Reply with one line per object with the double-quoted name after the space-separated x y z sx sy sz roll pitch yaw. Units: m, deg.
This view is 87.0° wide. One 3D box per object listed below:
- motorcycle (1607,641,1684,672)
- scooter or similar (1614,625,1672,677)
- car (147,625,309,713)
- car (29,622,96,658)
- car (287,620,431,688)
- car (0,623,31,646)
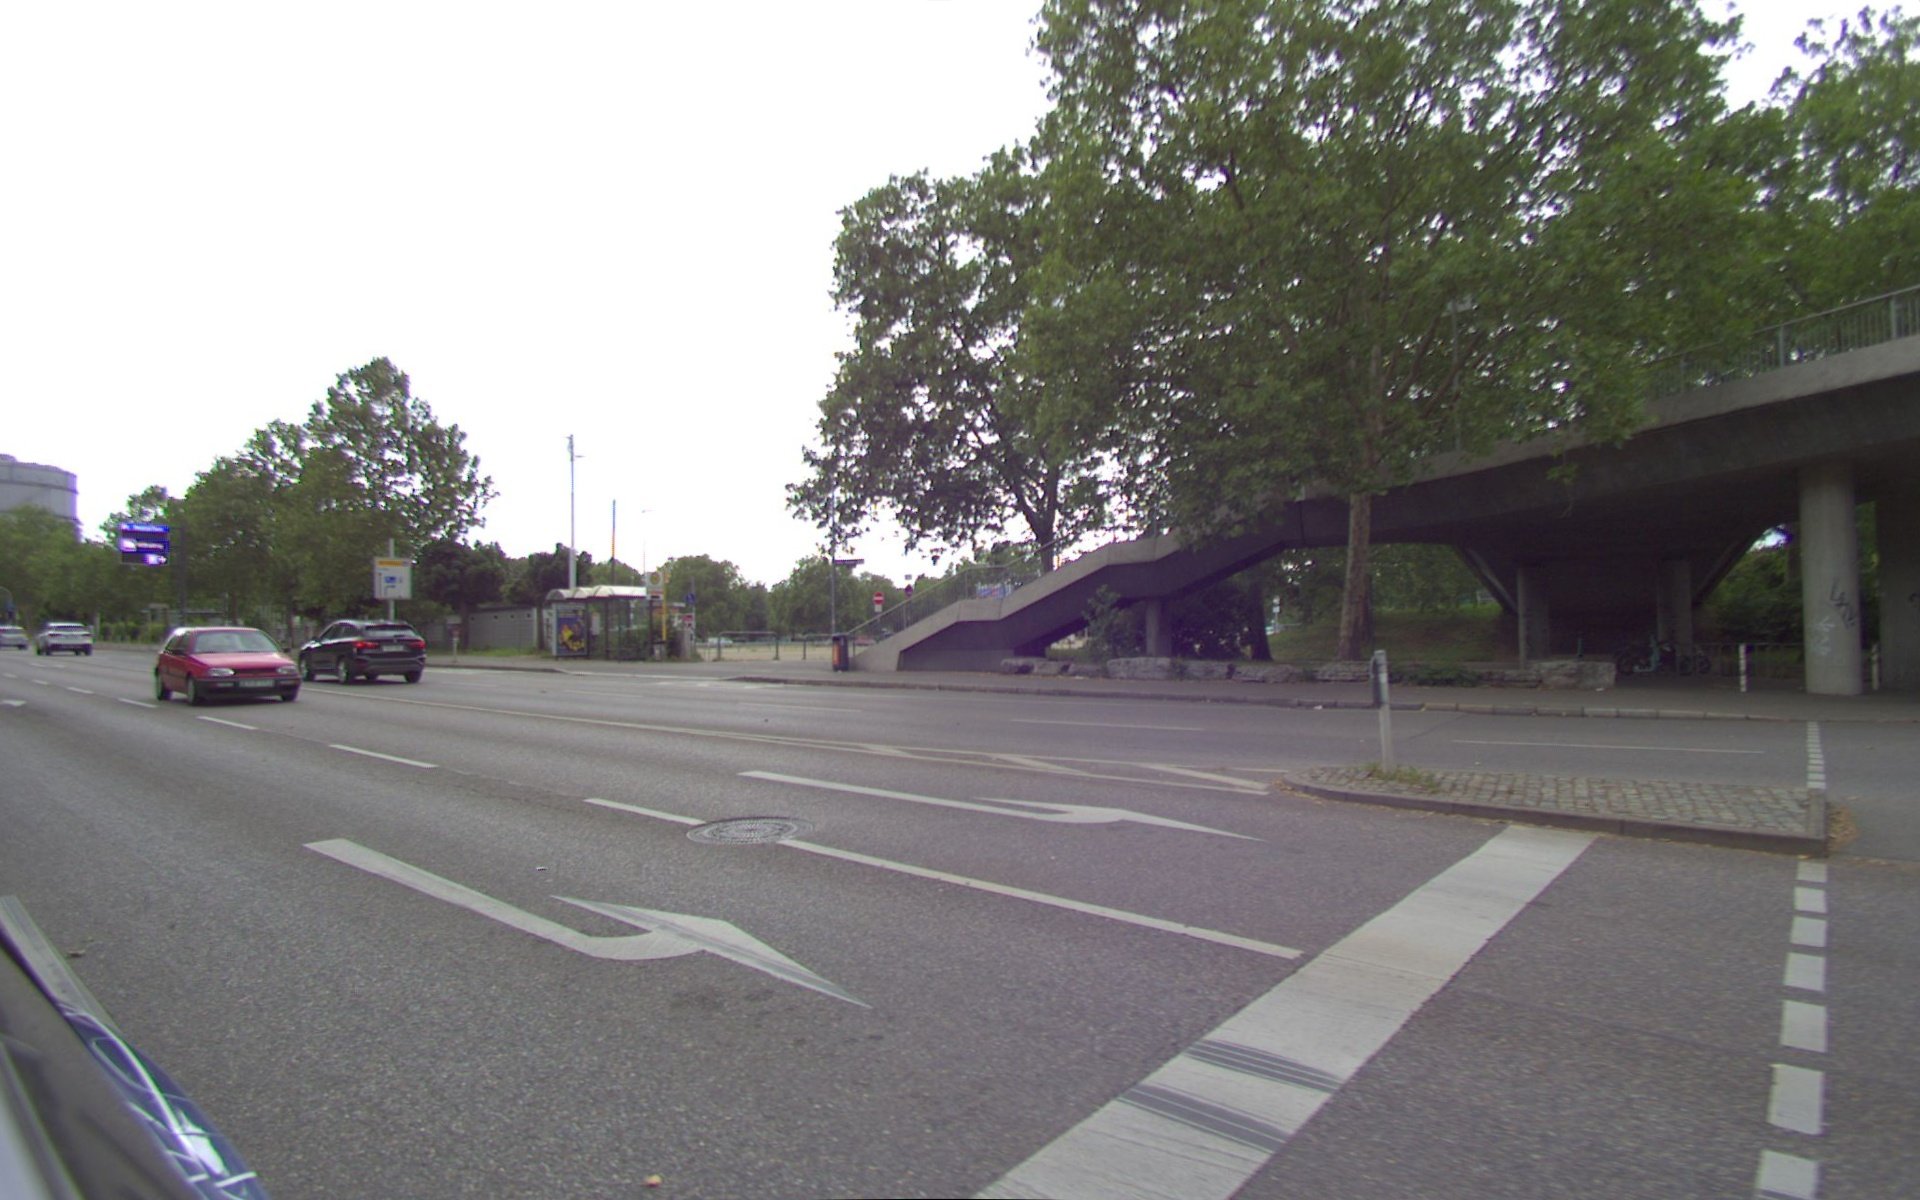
19.812 1.614 29.280 0.640 0.858 1.739 1 -2 -44 "motorcycle"
18.099 1.336 26.823 1.227 1.328 0.411 1 -2 40 "scooter or similar"
-14.093 1.244 19.398 4.077 1.463 1.808 -2 -1 44 "car"
-46.981 2.083 52.975 4.591 1.758 1.973 -2 -2 40 "car"
-15.559 1.360 26.130 4.423 1.618 1.752 -2 -3 39 "car"
-64.313 2.310 68.136 3.995 1.537 1.974 -1 -3 39 "car"
